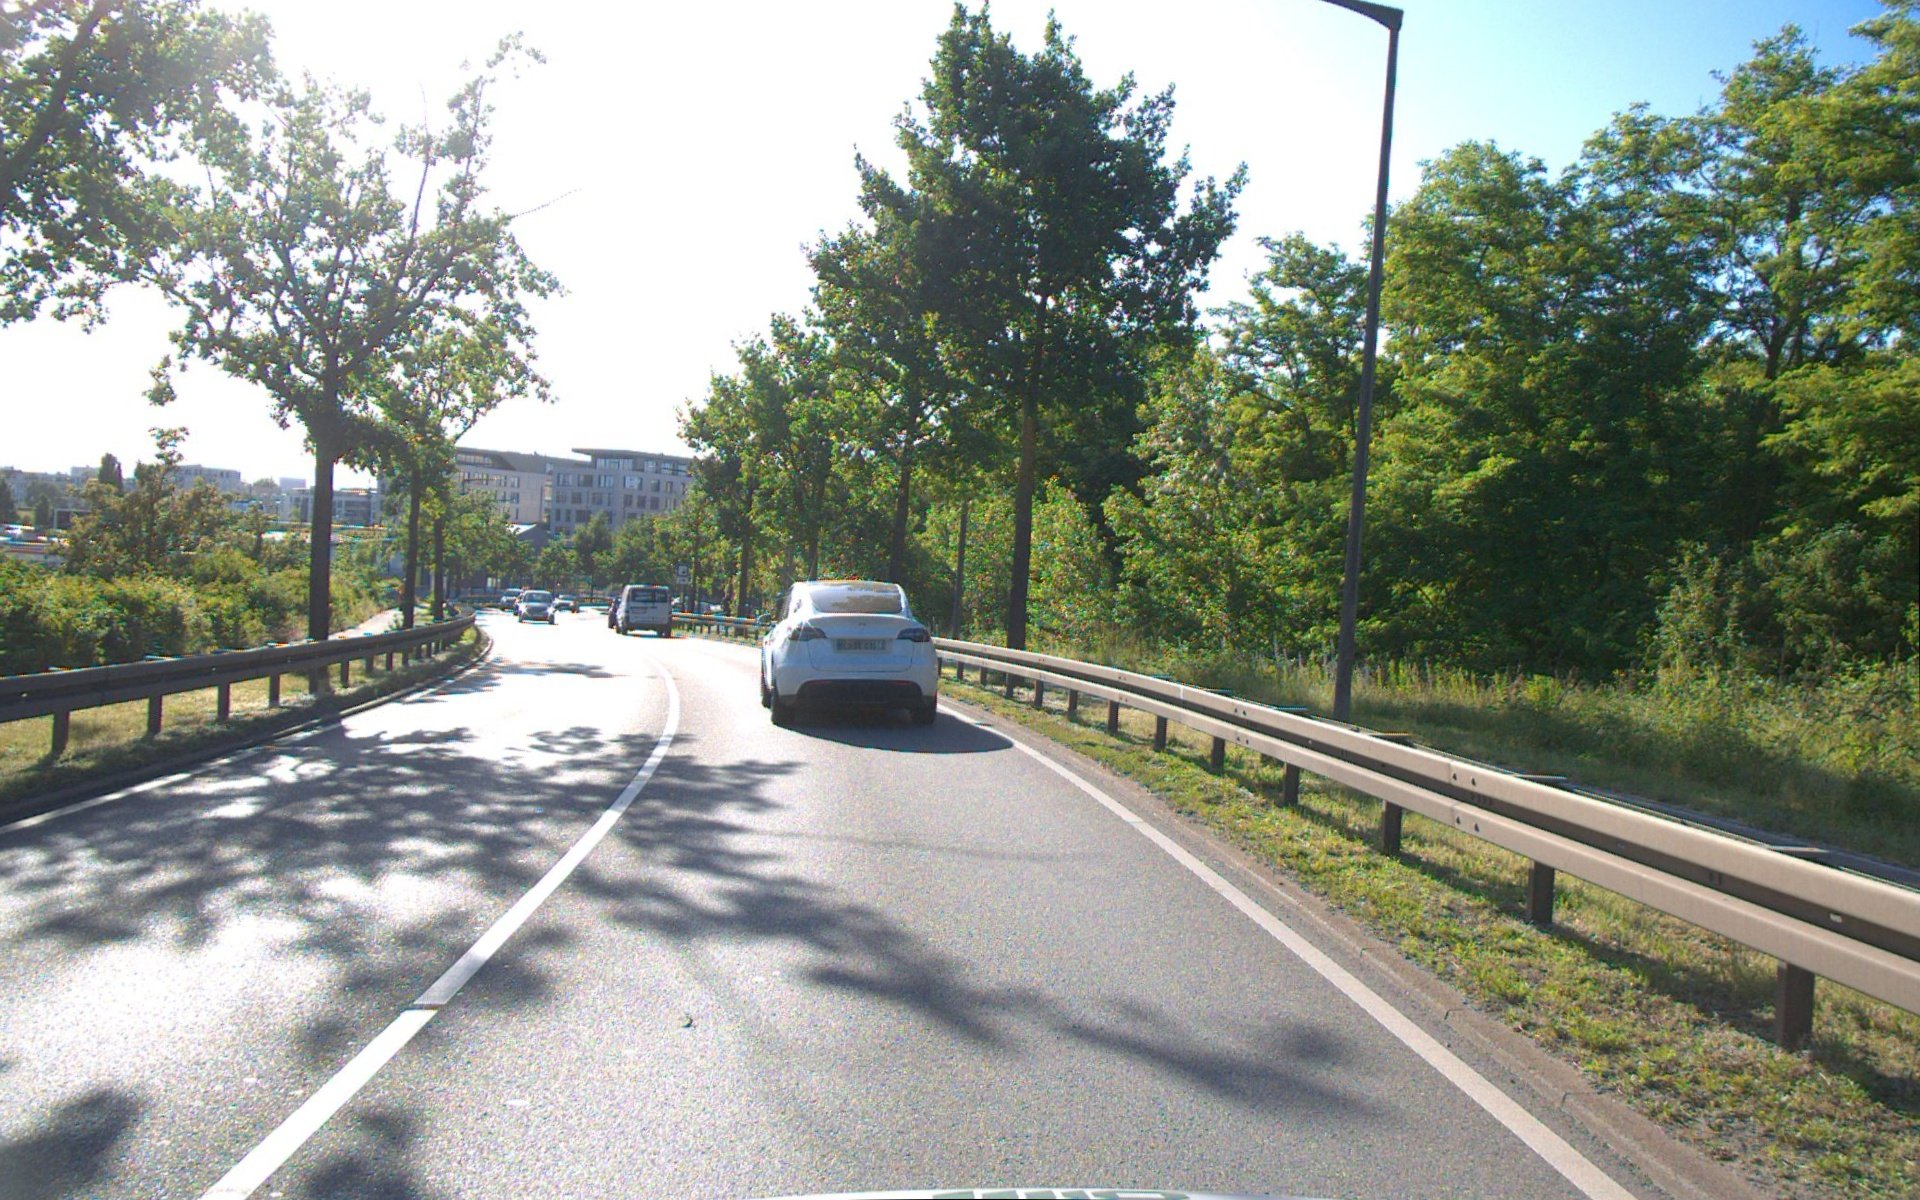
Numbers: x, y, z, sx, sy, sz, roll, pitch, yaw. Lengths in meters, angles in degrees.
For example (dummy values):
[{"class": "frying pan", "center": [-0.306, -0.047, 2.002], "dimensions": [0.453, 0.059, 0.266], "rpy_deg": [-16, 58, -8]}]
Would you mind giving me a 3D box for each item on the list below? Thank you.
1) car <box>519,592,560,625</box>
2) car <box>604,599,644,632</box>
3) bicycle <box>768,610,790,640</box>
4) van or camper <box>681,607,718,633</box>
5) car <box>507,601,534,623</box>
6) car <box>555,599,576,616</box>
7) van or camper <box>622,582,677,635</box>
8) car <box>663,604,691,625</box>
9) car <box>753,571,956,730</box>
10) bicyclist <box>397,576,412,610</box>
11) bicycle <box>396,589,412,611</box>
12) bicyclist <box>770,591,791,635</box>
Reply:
[{"class": "car", "center": [-21.082, 0.413, 82.844], "dimensions": [1.780, 1.581, 4.122], "rpy_deg": [2, 0, -16]}, {"class": "car", "center": [-16.454, 0.738, 80.914], "dimensions": [1.578, 1.459, 3.663], "rpy_deg": [4, -1, -16]}, {"class": "bicycle", "center": [-6.929, 0.949, 63.393], "dimensions": [0.687, 1.093, 1.920], "rpy_deg": [2, -2, -3]}, {"class": "van or camper", "center": [-20.590, 1.584, 130.781], "dimensions": [1.788, 1.821, 4.547], "rpy_deg": [4, 1, 3]}, {"class": "car", "center": [-33.072, 0.886, 124.463], "dimensions": [1.820, 1.518, 4.695], "rpy_deg": [2, 0, -17]}, {"class": "car", "center": [-34.811, 0.670, 145.921], "dimensions": [1.663, 1.466, 4.199], "rpy_deg": [2, 0, -15]}, {"class": "van or camper", "center": [-11.996, 0.315, 64.199], "dimensions": [1.922, 1.917, 4.869], "rpy_deg": [2, 0, -9]}, {"class": "car", "center": [-26.798, 1.331, 156.690], "dimensions": [1.872, 1.833, 4.127], "rpy_deg": [4, 0, -2]}, {"class": "car", "center": [-1.393, 0.545, 20.006], "dimensions": [1.880, 1.669, 4.398], "rpy_deg": [2, 0, -11]}, {"class": "bicyclist", "center": [-27.970, -0.356, 83.221], "dimensions": [0.641, 1.652, 0.870], "rpy_deg": [2, 0, -17]}, {"class": "bicycle", "center": [-27.961, -0.006, 83.180], "dimensions": [0.650, 1.114, 2.098], "rpy_deg": [2, 0, -17]}, {"class": "bicyclist", "center": [-6.854, 0.498, 63.315], "dimensions": [0.693, 1.606, 1.004], "rpy_deg": [2, -3, -3]}]
